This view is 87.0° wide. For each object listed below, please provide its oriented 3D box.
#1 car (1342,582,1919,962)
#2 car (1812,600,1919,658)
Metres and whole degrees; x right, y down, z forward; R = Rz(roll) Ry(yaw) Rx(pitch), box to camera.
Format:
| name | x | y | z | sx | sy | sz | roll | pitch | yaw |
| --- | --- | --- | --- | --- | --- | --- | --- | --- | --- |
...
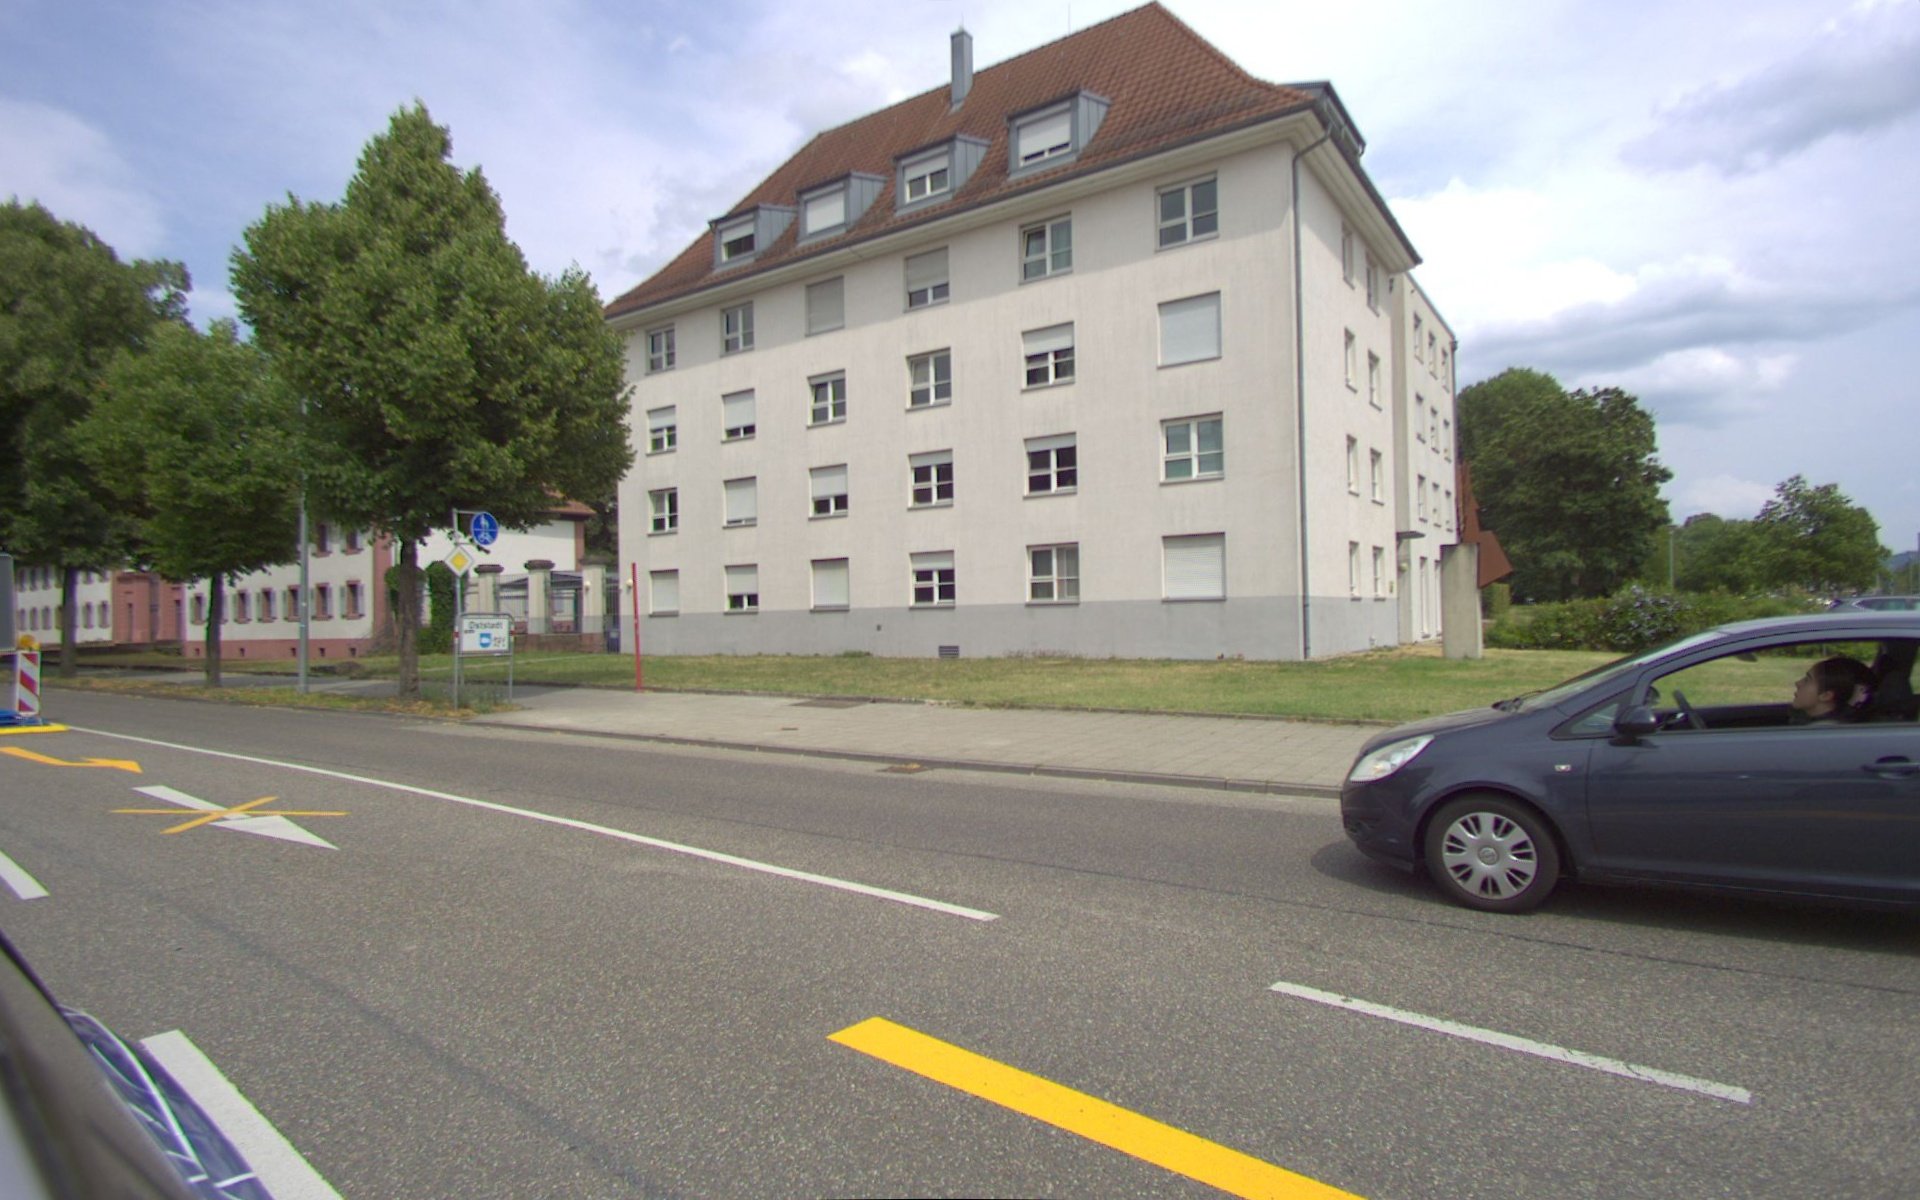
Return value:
| name | x | y | z | sx | sy | sz | roll | pitch | yaw |
| --- | --- | --- | --- | --- | --- | --- | --- | --- | --- |
| car | 4.220 | 0.698 | 4.738 | 4.246 | 1.490 | 1.757 | -2 | -3 | 34 |
| car | 26.104 | 0.773 | 27.399 | 4.440 | 1.520 | 1.792 | -3 | -3 | 37 |
